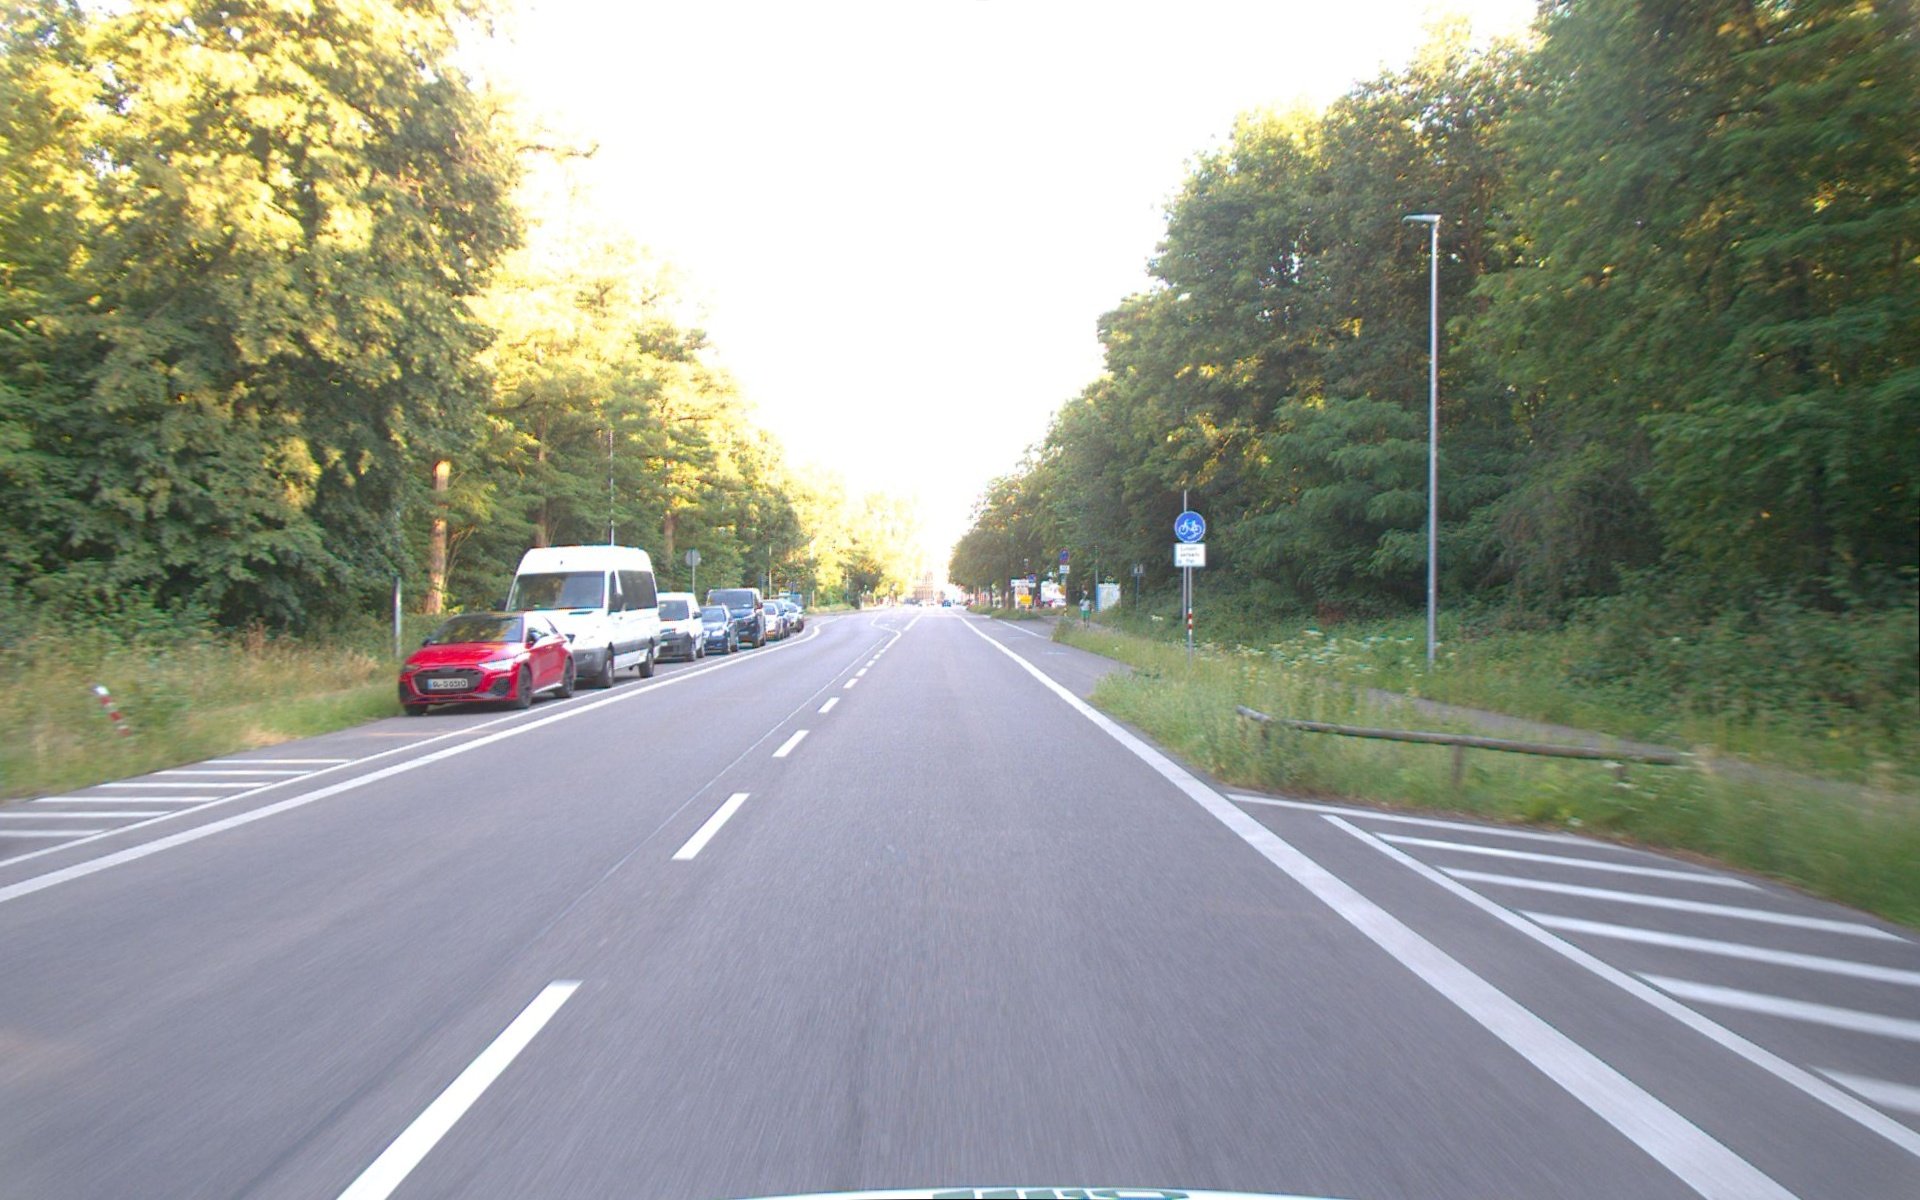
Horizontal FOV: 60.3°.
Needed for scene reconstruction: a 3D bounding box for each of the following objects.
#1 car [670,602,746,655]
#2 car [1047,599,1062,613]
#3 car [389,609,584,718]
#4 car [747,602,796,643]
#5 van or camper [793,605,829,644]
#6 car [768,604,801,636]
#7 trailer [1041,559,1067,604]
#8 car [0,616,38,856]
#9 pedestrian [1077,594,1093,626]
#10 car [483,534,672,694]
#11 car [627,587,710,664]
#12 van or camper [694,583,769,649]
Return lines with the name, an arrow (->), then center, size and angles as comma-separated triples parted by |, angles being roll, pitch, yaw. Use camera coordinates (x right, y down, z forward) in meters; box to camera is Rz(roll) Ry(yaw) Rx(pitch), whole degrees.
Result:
car -> -7.538, 0.834, 49.862 | 1.636, 1.458, 4.446 | -2, 0, -1
car -> 11.309, 0.763, 197.472 | 1.733, 1.611, 4.820 | 1, 0, 3
car -> -7.115, 0.892, 25.302 | 1.681, 1.455, 4.387 | -1, 0, 0
car -> -7.505, 0.867, 66.184 | 1.635, 1.527, 4.244 | -2, 0, -3
van or camper -> -8.640, 1.389, 96.217 | 1.992, 2.130, 5.009 | -2, 0, -5
car -> -8.974, 1.020, 84.883 | 1.585, 1.561, 4.035 | -2, 0, -6
trailer -> 11.911, -2.332, 210.352 | 2.958, 5.558, 7.934 | 0, 0, 0
car -> -6.792, 0.898, 8.546 | 1.809, 1.488, 4.227 | -3, 0, -3
pedestrian -> 6.878, 0.547, 90.742 | 0.821, 1.782, 0.726 | 0, 0, 0
car -> -7.261, 0.241, 32.272 | 2.037, 2.651, 7.087 | -3, 0, -1
car -> -7.792, 0.658, 44.538 | 1.654, 1.890, 4.384 | -3, 0, -4
van or camper -> -7.719, 0.524, 56.318 | 1.962, 2.053, 5.458 | -3, 0, -3
